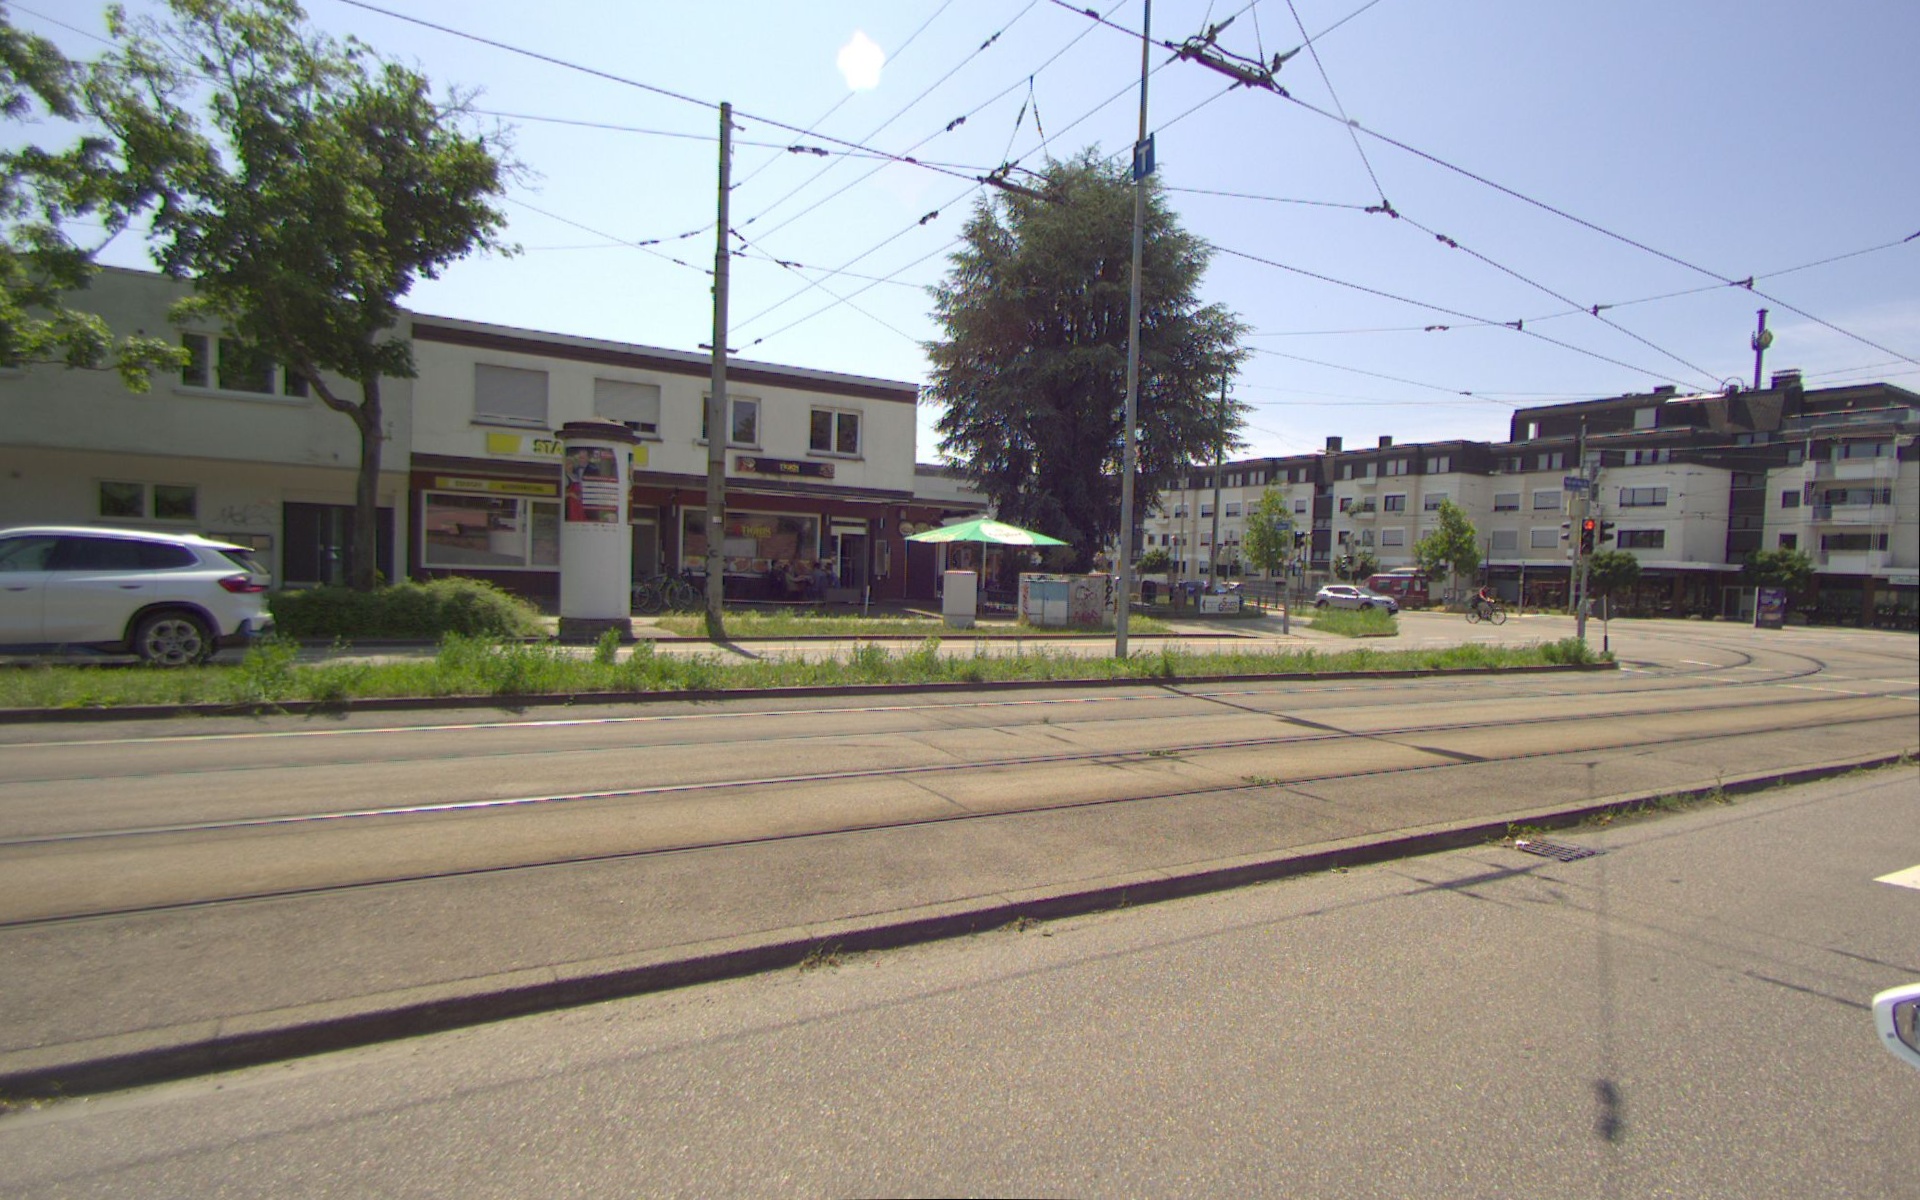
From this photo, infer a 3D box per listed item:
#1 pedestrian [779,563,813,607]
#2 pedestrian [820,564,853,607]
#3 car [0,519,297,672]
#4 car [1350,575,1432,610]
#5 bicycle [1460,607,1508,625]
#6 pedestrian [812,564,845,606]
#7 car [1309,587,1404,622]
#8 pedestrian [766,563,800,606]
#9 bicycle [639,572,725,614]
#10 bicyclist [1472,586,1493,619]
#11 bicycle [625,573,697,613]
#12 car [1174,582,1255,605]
[{"bbox_3d":[-4.952,-0.446,30.387,0.832,1.285,0.586,2,0,-30],"label":"pedestrian"},{"bbox_3d":[-3.807,-0.442,31.002,0.832,1.285,0.586,2,0,-30],"label":"pedestrian"},{"bbox_3d":[-10.465,-0.056,11.588,4.514,1.631,1.716,2,0,-29],"label":"car"},{"bbox_3d":[31.020,-0.545,72.495,2.219,2.372,5.038,2,0,-31],"label":"car"},{"bbox_3d":[24.642,0.747,47.249,1.956,0.794,0.464,2,0,39],"label":"bicycle"},{"bbox_3d":[-4.139,-0.459,31.583,0.832,1.285,0.586,2,0,-30],"label":"pedestrian"},{"bbox_3d":[20.397,0.213,51.768,1.925,1.605,4.100,2,0,-42],"label":"car"},{"bbox_3d":[-5.448,-0.469,30.887,0.832,1.285,0.586,2,0,-30],"label":"pedestrian"},{"bbox_3d":[-7.070,-0.170,25.593,2.006,0.992,0.607,2,0,-31],"label":"bicycle"},{"bbox_3d":[24.602,0.134,47.279,0.741,1.521,0.480,2,0,39],"label":"bicyclist"},{"bbox_3d":[-7.925,-0.183,26.632,1.738,0.992,0.536,2,0,-31],"label":"bicycle"},{"bbox_3d":[15.538,-0.409,61.566,1.919,1.253,4.740,2,0,-33],"label":"car"}]
